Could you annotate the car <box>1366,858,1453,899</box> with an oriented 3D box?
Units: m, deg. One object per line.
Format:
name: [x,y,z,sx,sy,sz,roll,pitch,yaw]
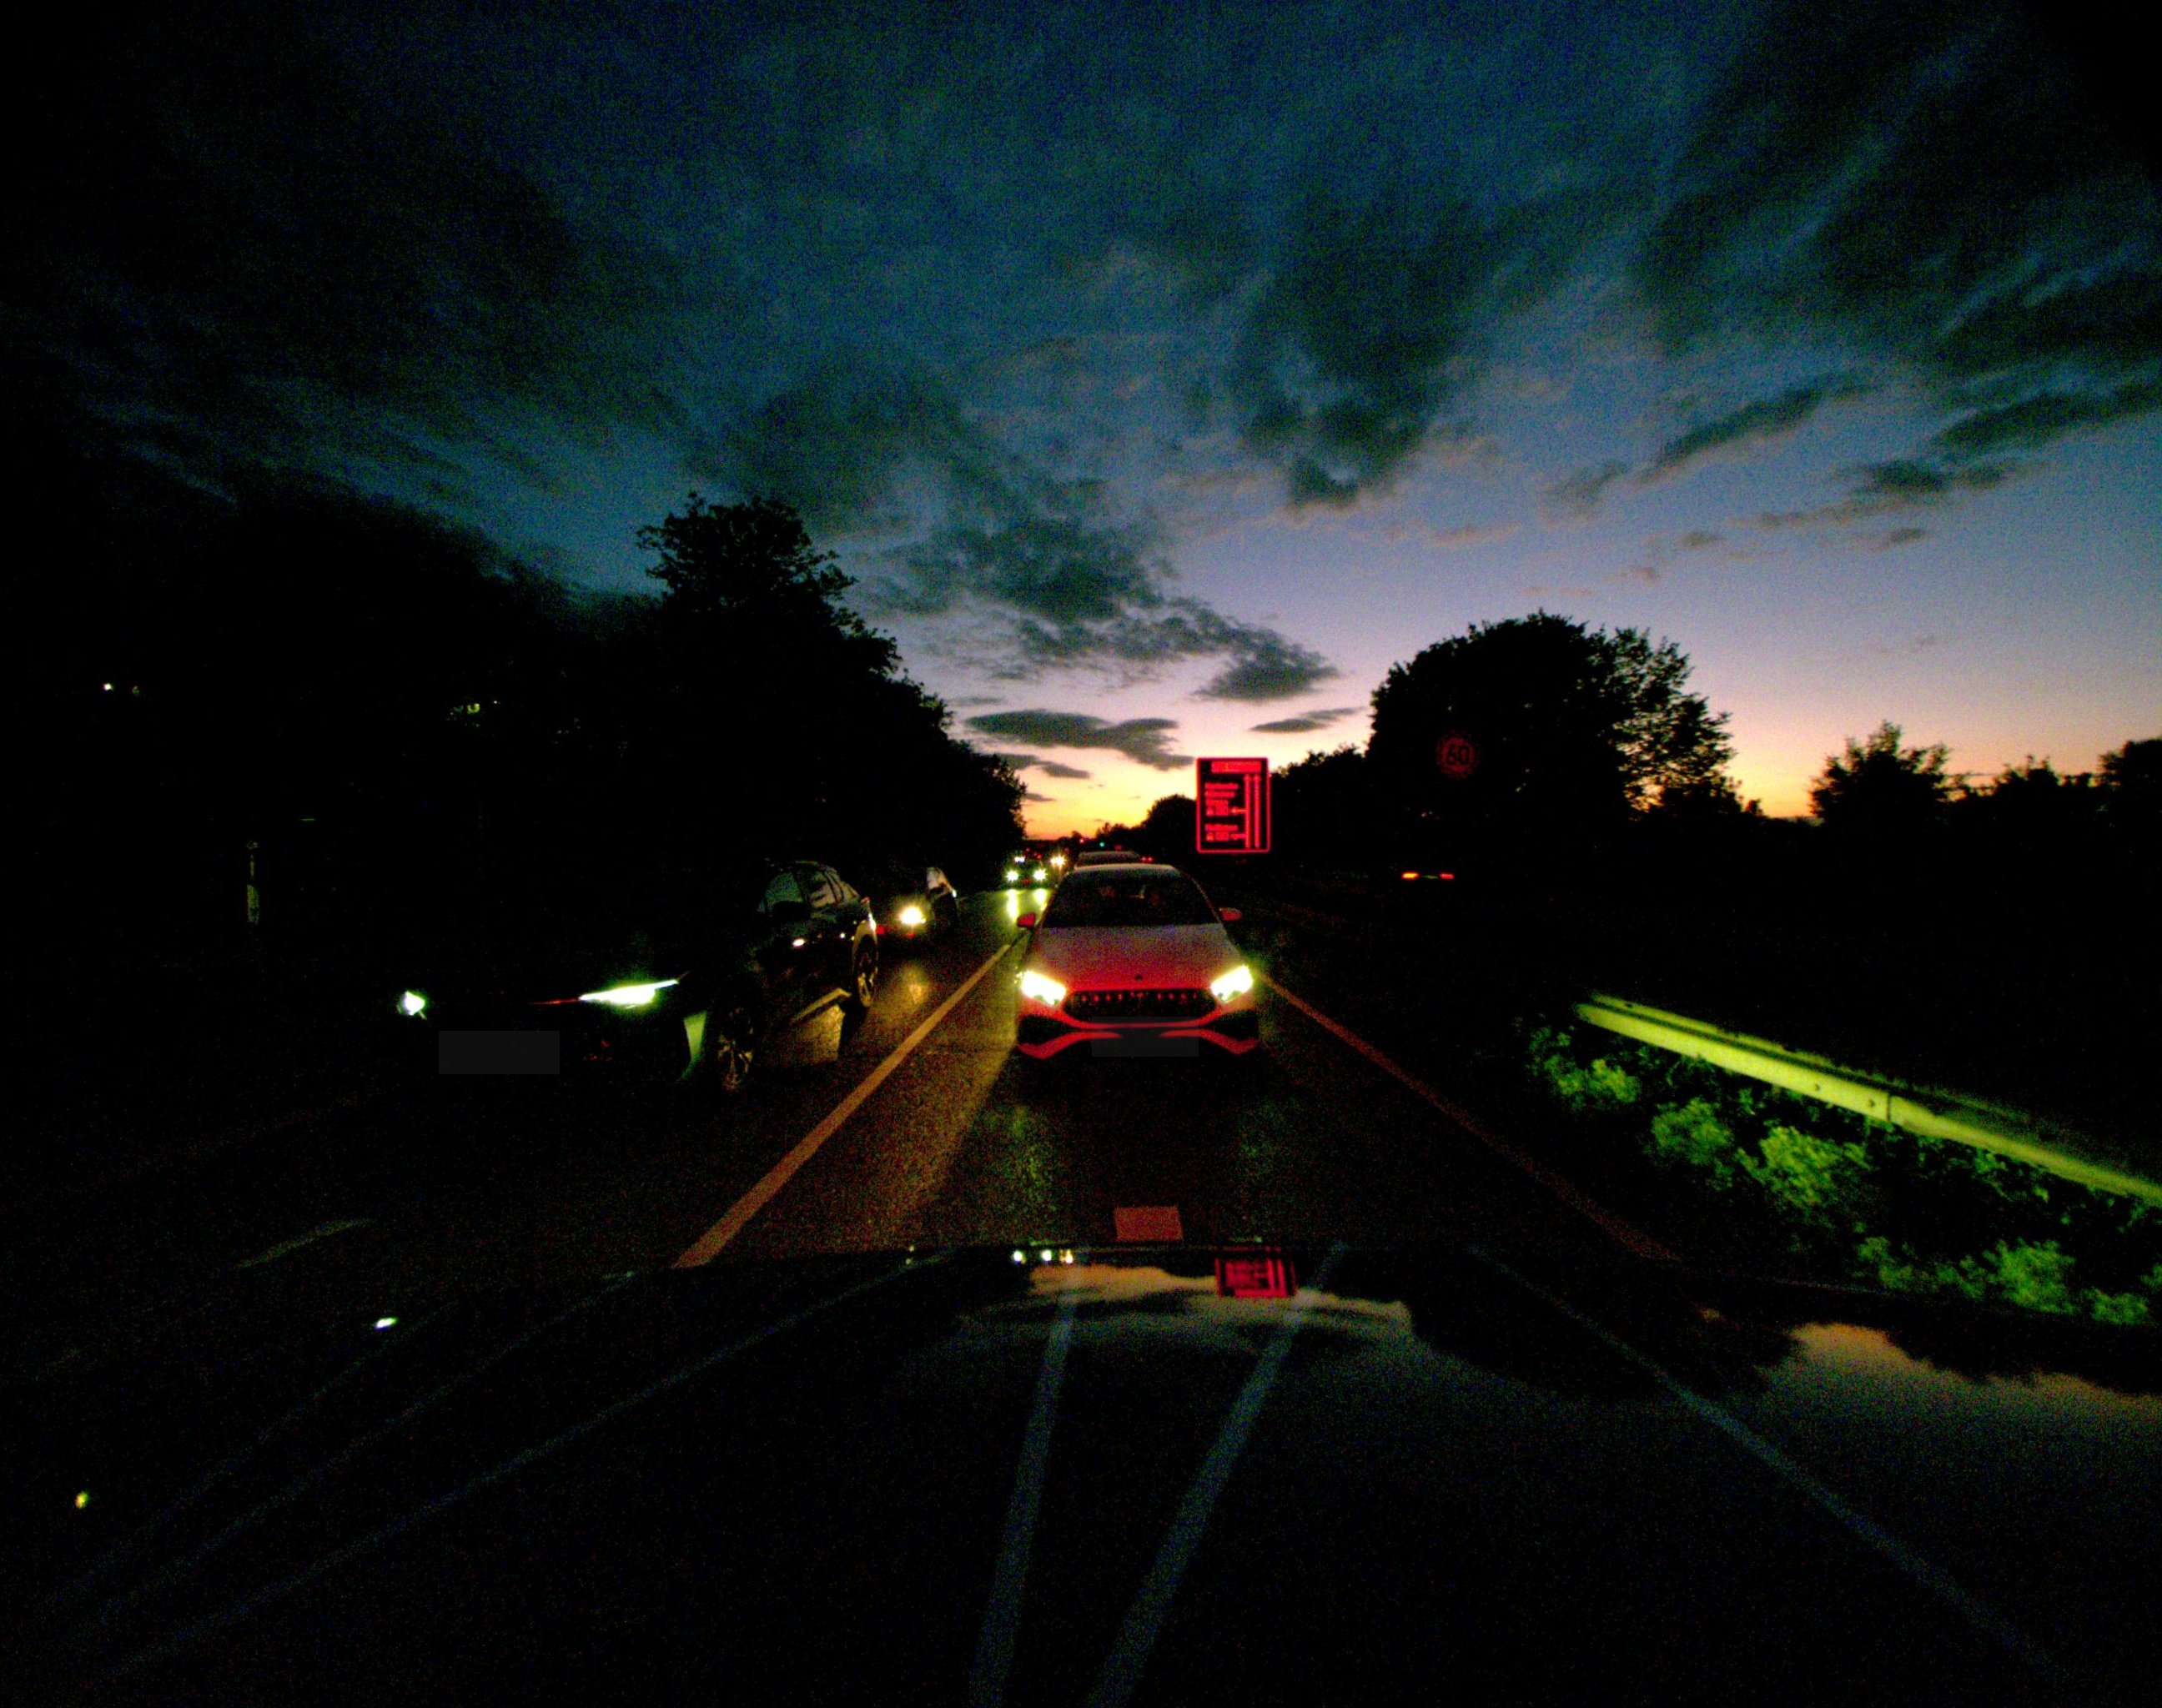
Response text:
car: [13.357,0.950,31.178,1.632,1.496,4.591,0,0,1]

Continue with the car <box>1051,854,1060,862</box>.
car: [-4.622,0.739,139.376,1.606,1.291,3.552,-2,1,-1]

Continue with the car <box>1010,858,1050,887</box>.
car: [-2.729,0.978,41.533,1.819,1.360,3.999,-2,1,1]

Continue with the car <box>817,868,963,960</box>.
car: [-3.359,1.000,14.057,1.621,1.405,3.756,-1,0,2]

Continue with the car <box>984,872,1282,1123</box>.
car: [0.401,0.971,7.143,1.819,1.428,4.647,-3,0,2]

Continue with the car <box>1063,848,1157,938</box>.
car: [0.630,0.774,16.820,1.760,1.692,4.250,-2,0,2]

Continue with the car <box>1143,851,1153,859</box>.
car: [14.209,0.165,162.114,1.781,1.551,3.999,-2,1,1]

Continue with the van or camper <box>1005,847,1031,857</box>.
van or camper: [-20.277,-0.589,242.492,3.960,3.107,9.915,0,0,-34]

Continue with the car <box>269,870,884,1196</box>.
car: [-3.189,0.985,6.100,1.901,1.547,4.301,-3,0,2]
